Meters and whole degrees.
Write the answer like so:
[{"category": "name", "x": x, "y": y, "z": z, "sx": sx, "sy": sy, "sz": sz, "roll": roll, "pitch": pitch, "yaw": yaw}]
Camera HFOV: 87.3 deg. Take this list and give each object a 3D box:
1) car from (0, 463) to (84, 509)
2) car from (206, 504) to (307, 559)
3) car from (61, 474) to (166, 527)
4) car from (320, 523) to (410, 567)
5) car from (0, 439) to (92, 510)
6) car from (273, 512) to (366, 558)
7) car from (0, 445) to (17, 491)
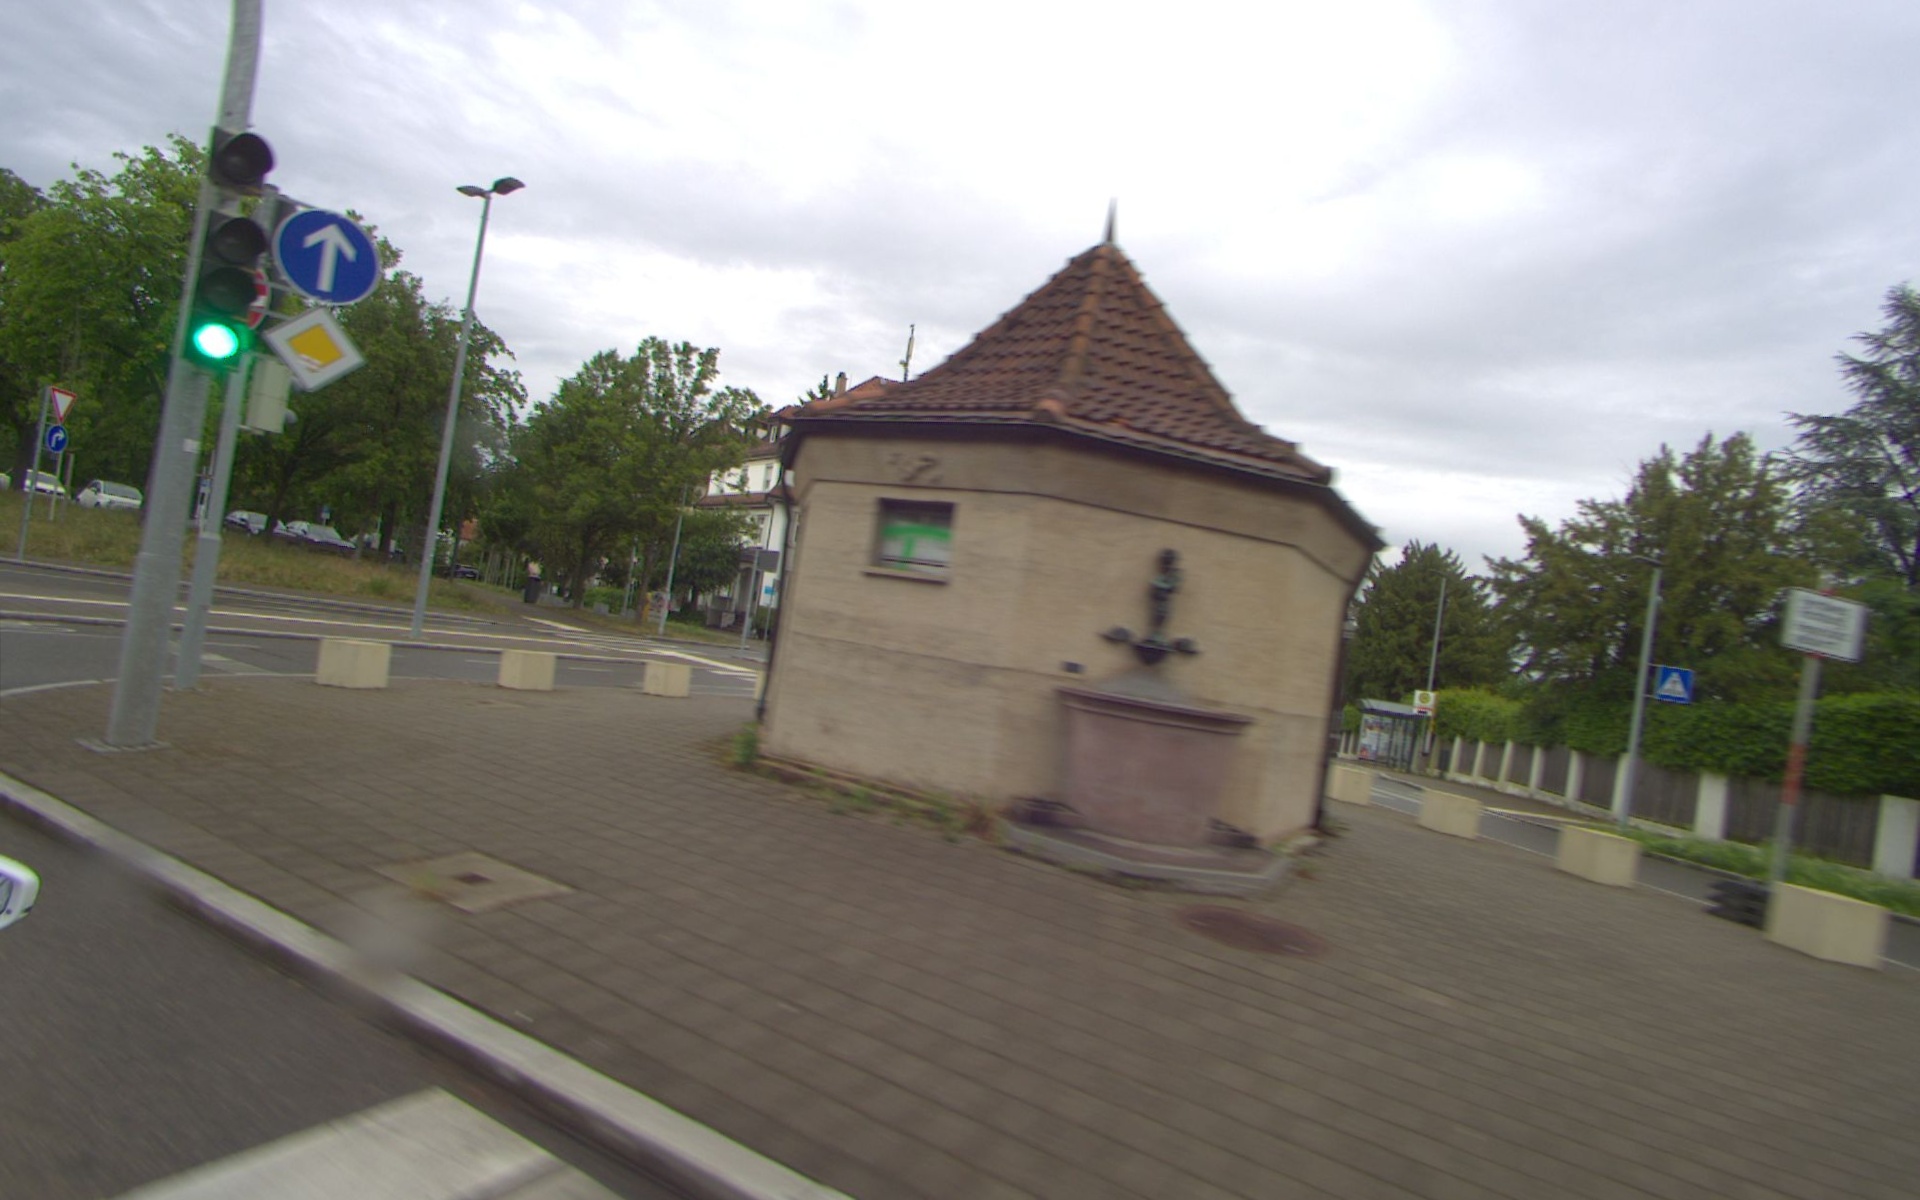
[{"category": "car", "x": -41.653, "y": -5.164, "z": 45.438, "sx": 4.002, "sy": 1.495, "sz": 1.891, "roll": 6, "pitch": -5, "yaw": 32}, {"category": "car", "x": -30.816, "y": -3.017, "z": 44.062, "sx": 3.933, "sy": 1.678, "sz": 2.001, "roll": 8, "pitch": -5, "yaw": 31}, {"category": "car", "x": -33.469, "y": -3.946, "z": 39.771, "sx": 4.002, "sy": 1.495, "sz": 1.891, "roll": 6, "pitch": -5, "yaw": 32}, {"category": "car", "x": -28.772, "y": -2.676, "z": 48.645, "sx": 4.001, "sy": 1.495, "sz": 1.892, "roll": 7, "pitch": -5, "yaw": 31}, {"category": "car", "x": -30.313, "y": -4.117, "z": 32.424, "sx": 3.930, "sy": 1.678, "sz": 2.003, "roll": 8, "pitch": -5, "yaw": 27}, {"category": "car", "x": -28.927, "y": -2.927, "z": 45.410, "sx": 4.002, "sy": 1.496, "sz": 1.890, "roll": 7, "pitch": -3, "yaw": 32}, {"category": "car", "x": -35.324, "y": -4.898, "z": 35.177, "sx": 4.210, "sy": 1.495, "sz": 2.002, "roll": 7, "pitch": -5, "yaw": 28}]
